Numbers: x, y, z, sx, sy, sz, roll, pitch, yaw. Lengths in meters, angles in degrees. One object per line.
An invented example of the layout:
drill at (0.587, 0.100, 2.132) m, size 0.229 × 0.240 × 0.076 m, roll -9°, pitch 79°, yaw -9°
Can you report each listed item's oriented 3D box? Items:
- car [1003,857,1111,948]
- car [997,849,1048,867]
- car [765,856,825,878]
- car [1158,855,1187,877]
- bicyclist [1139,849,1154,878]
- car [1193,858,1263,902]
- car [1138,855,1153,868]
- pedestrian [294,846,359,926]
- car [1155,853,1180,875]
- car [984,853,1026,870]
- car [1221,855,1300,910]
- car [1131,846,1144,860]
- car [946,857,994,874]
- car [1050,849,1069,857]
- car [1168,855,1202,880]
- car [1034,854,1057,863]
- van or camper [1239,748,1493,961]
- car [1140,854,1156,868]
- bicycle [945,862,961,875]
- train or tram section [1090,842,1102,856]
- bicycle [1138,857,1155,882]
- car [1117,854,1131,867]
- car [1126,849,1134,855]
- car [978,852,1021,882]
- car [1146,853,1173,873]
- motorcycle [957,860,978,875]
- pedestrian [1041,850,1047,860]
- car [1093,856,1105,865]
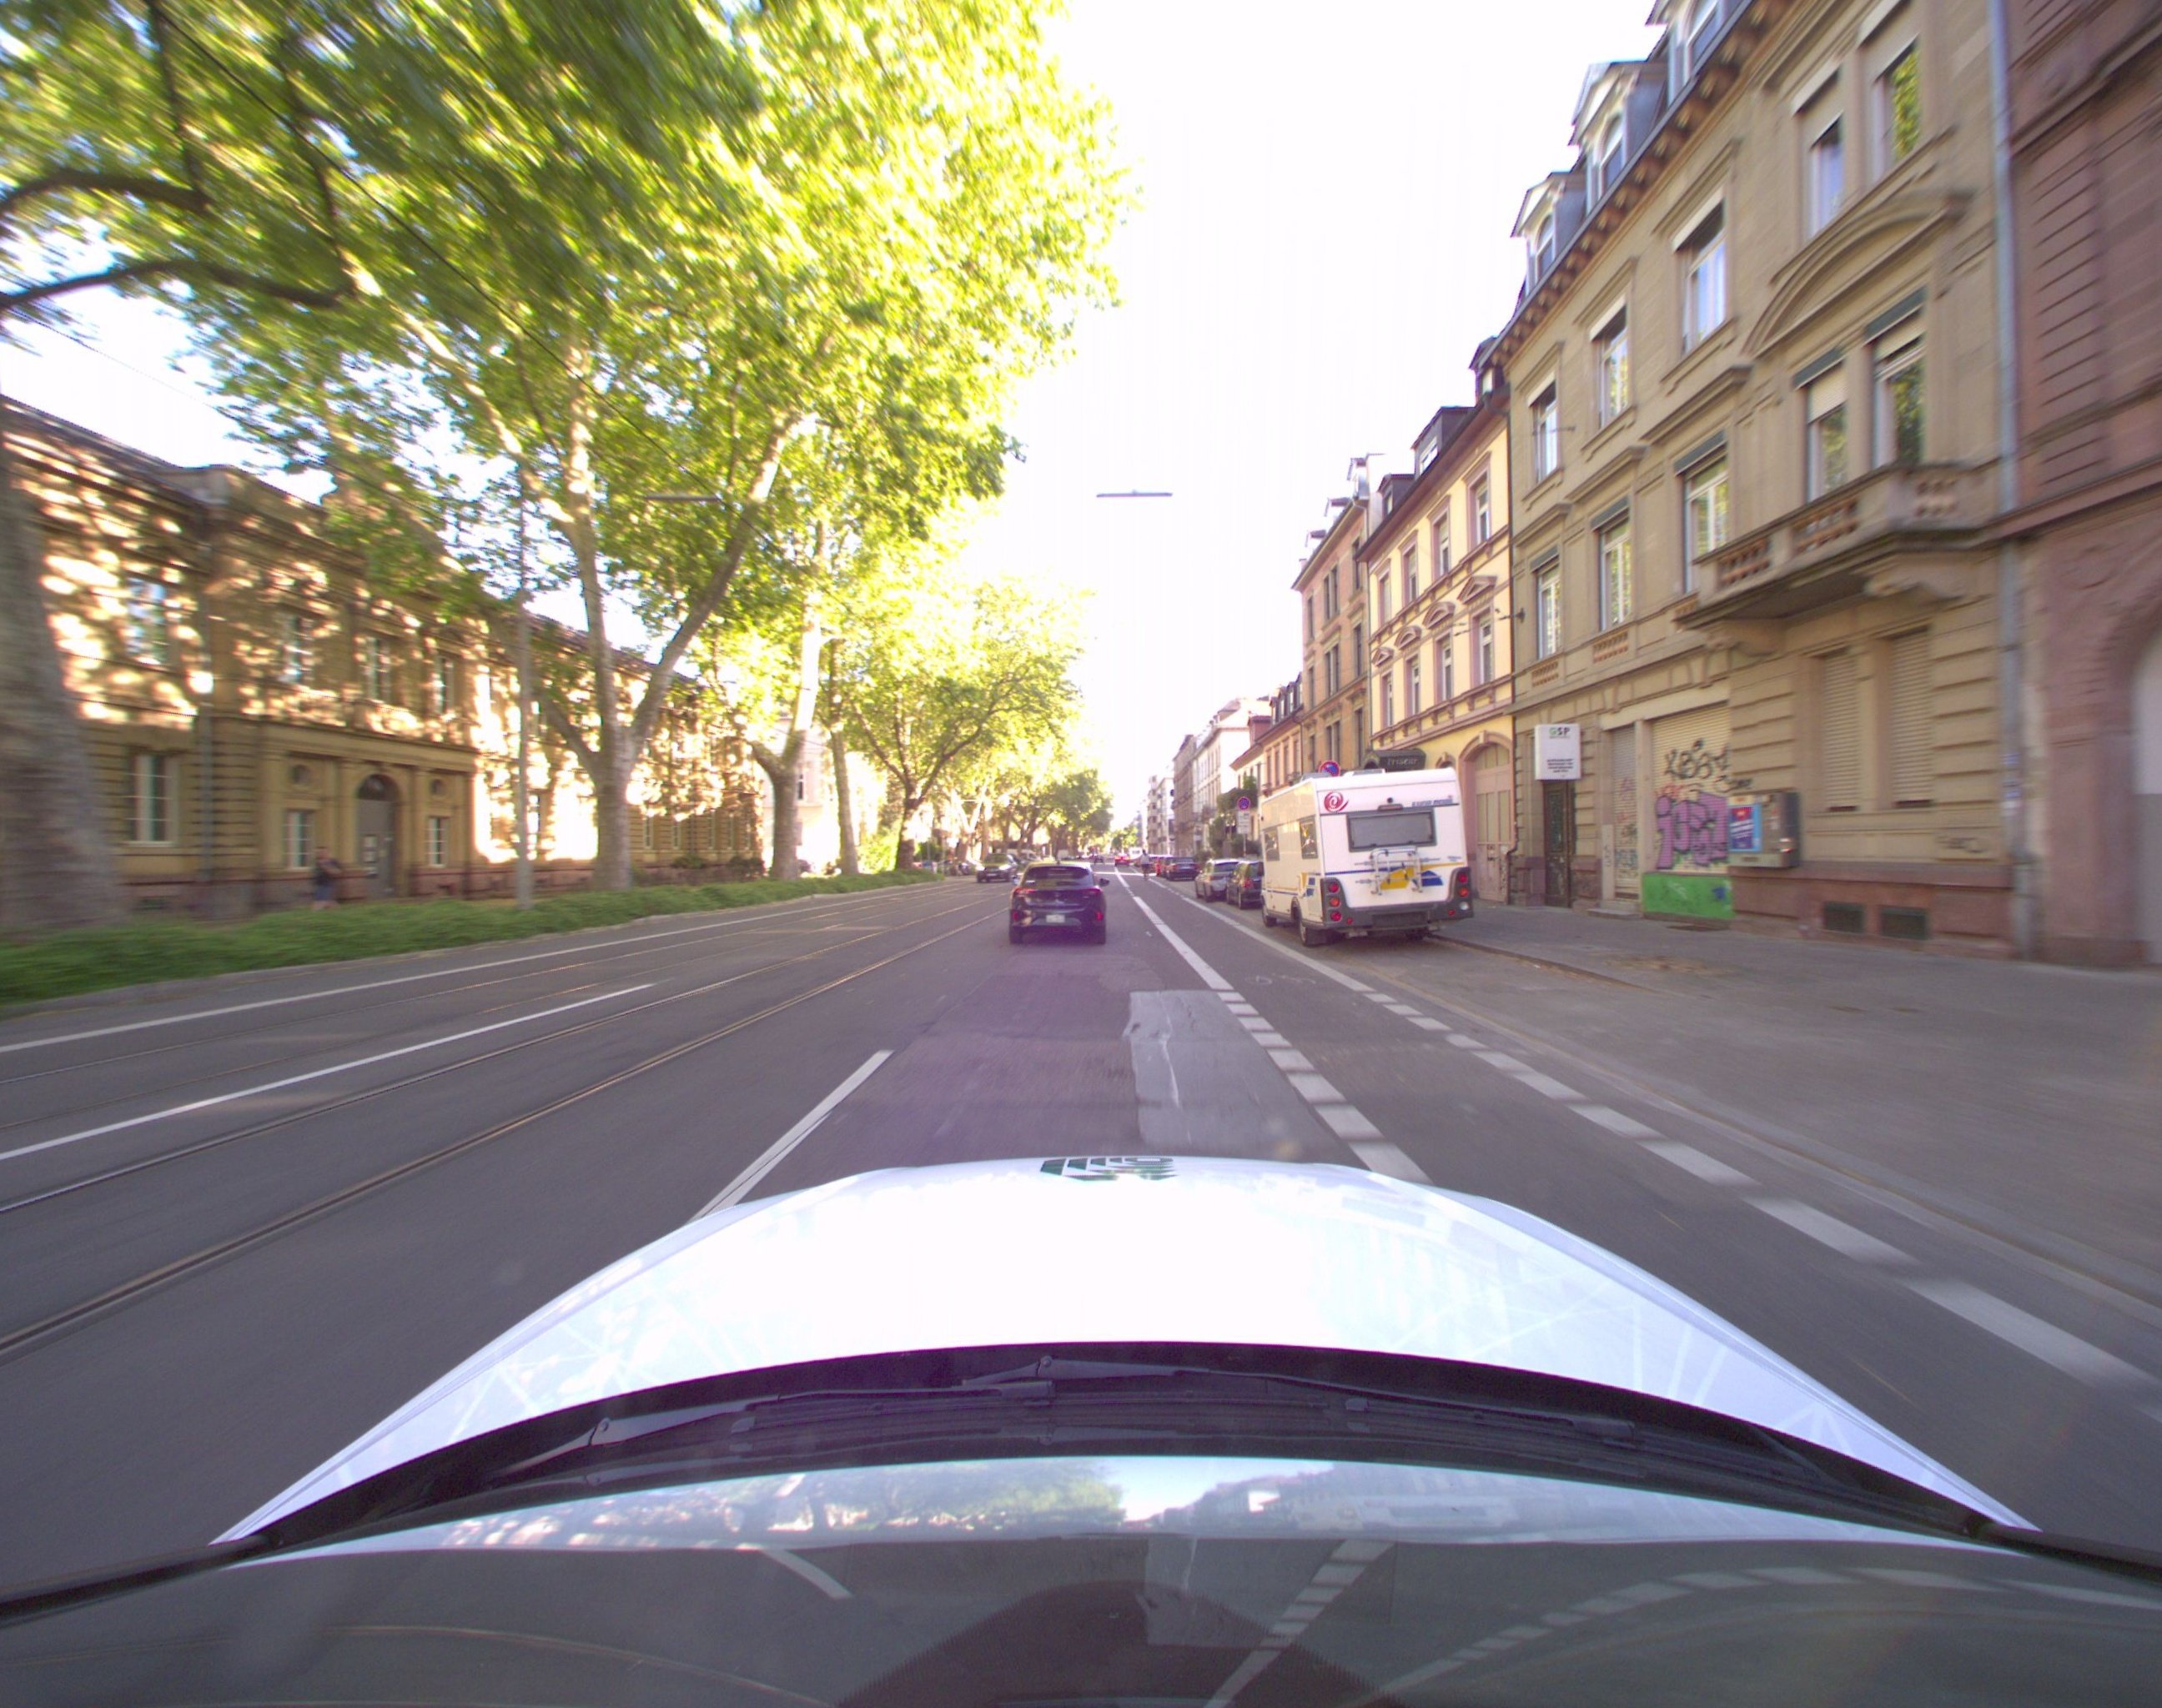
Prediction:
car at (-0.331, 0.811, 15.246) m, size 1.787 × 1.441 × 3.533 m, roll 0°, pitch 1°, yaw 2°
car at (-7.906, 0.544, 111.217) m, size 6.602 × 2.409 × 2.459 m, roll 1°, pitch -1°, yaw 2°
car at (-21.092, 0.963, 60.141) m, size 3.761 × 1.418 × 1.696 m, roll -1°, pitch 3°, yaw 2°
car at (6.241, 0.810, 55.871) m, size 1.644 × 1.456 × 3.870 m, roll -1°, pitch 0°, yaw 2°
bicyclist at (3.912, 0.573, 48.797) m, size 0.845 × 1.740 × 1.162 m, roll 0°, pitch 0°, yaw 1°
car at (5.208, 0.870, 29.425) m, size 1.803 × 1.435 × 4.667 m, roll -2°, pitch 0°, yaw 2°
car at (7.990, 0.891, 100.963) m, size 1.696 × 1.456 × 3.703 m, roll -4°, pitch 0°, yaw 5°
pedestrian at (-17.844, 0.738, 19.276) m, size 0.716 × 1.849 × 0.838 m, roll 0°, pitch 0°, yaw 1°
car at (6.386, 0.759, 60.543) m, size 1.627 × 1.546 × 3.579 m, roll -1°, pitch 0°, yaw 3°
car at (-8.923, 0.844, 96.141) m, size 4.655 × 1.924 × 1.982 m, roll 1°, pitch -1°, yaw 3°
car at (5.333, 0.798, 24.626) m, size 1.638 × 1.434 × 4.033 m, roll -4°, pitch 0°, yaw 3°
car at (9.588, -0.108, 138.555) m, size 2.067 × 2.219 × 4.938 m, roll -4°, pitch 0°, yaw 3°
car at (-9.583, 0.978, 70.623) m, size 3.906 × 1.453 × 1.801 m, roll 0°, pitch 0°, yaw 2°
car at (-4.599, -0.211, 172.534) m, size 3.908 × 1.790 × 1.676 m, roll 1°, pitch -1°, yaw -1°
car at (6.145, 0.775, 48.567) m, size 1.686 × 1.392 × 4.499 m, roll -2°, pitch 0°, yaw 4°
car at (-6.189, 0.833, 142.093) m, size 3.908 × 1.498 × 1.676 m, roll 1°, pitch -1°, yaw -1°
van or camper at (4.939, 0.019, 15.881) m, size 2.467 × 2.972 × 7.891 m, roll -4°, pitch 0°, yaw 4°
car at (7.860, 0.792, 95.909) m, size 1.562 × 1.517 × 3.040 m, roll -4°, pitch 0°, yaw 0°
bicycle at (-9.797, 1.110, 62.278) m, size 0.537 × 0.940 × 2.040 m, roll 0°, pitch 0°, yaw 10°
train or tram section at (4.169, -1.426, 225.701) m, size 2.723 × 3.682 × 12.727 m, roll -1°, pitch 0°, yaw 3°
bicycle at (3.919, 0.913, 48.744) m, size 0.857 × 1.407 × 2.524 m, roll 0°, pitch 0°, yaw 1°
car at (5.765, 0.820, 108.432) m, size 1.802 × 1.742 × 3.936 m, roll -1°, pitch 0°, yaw 3°
car at (11.286, -0.410, 188.918) m, size 1.802 × 1.338 × 3.936 m, roll -4°, pitch 0°, yaw 3°
car at (-4.726, 0.712, 47.674) m, size 1.859 × 1.629 × 4.562 m, roll -1°, pitch 1°, yaw 2°
car at (6.894, 0.815, 71.855) m, size 1.875 × 1.586 × 3.931 m, roll -4°, pitch 0°, yaw -1°
motorcycle at (-8.626, 1.030, 62.178) m, size 0.879 × 1.147 × 2.397 m, roll 0°, pitch 0°, yaw 10°
pedestrian at (-5.857, 0.172, 129.856) m, size 0.770 × 1.567 × 0.675 m, roll 0°, pitch -1°, yaw -25°
car at (2.937, 1.043, 129.389) m, size 1.802 × 1.338 × 3.935 m, roll 0°, pitch 0°, yaw 3°
